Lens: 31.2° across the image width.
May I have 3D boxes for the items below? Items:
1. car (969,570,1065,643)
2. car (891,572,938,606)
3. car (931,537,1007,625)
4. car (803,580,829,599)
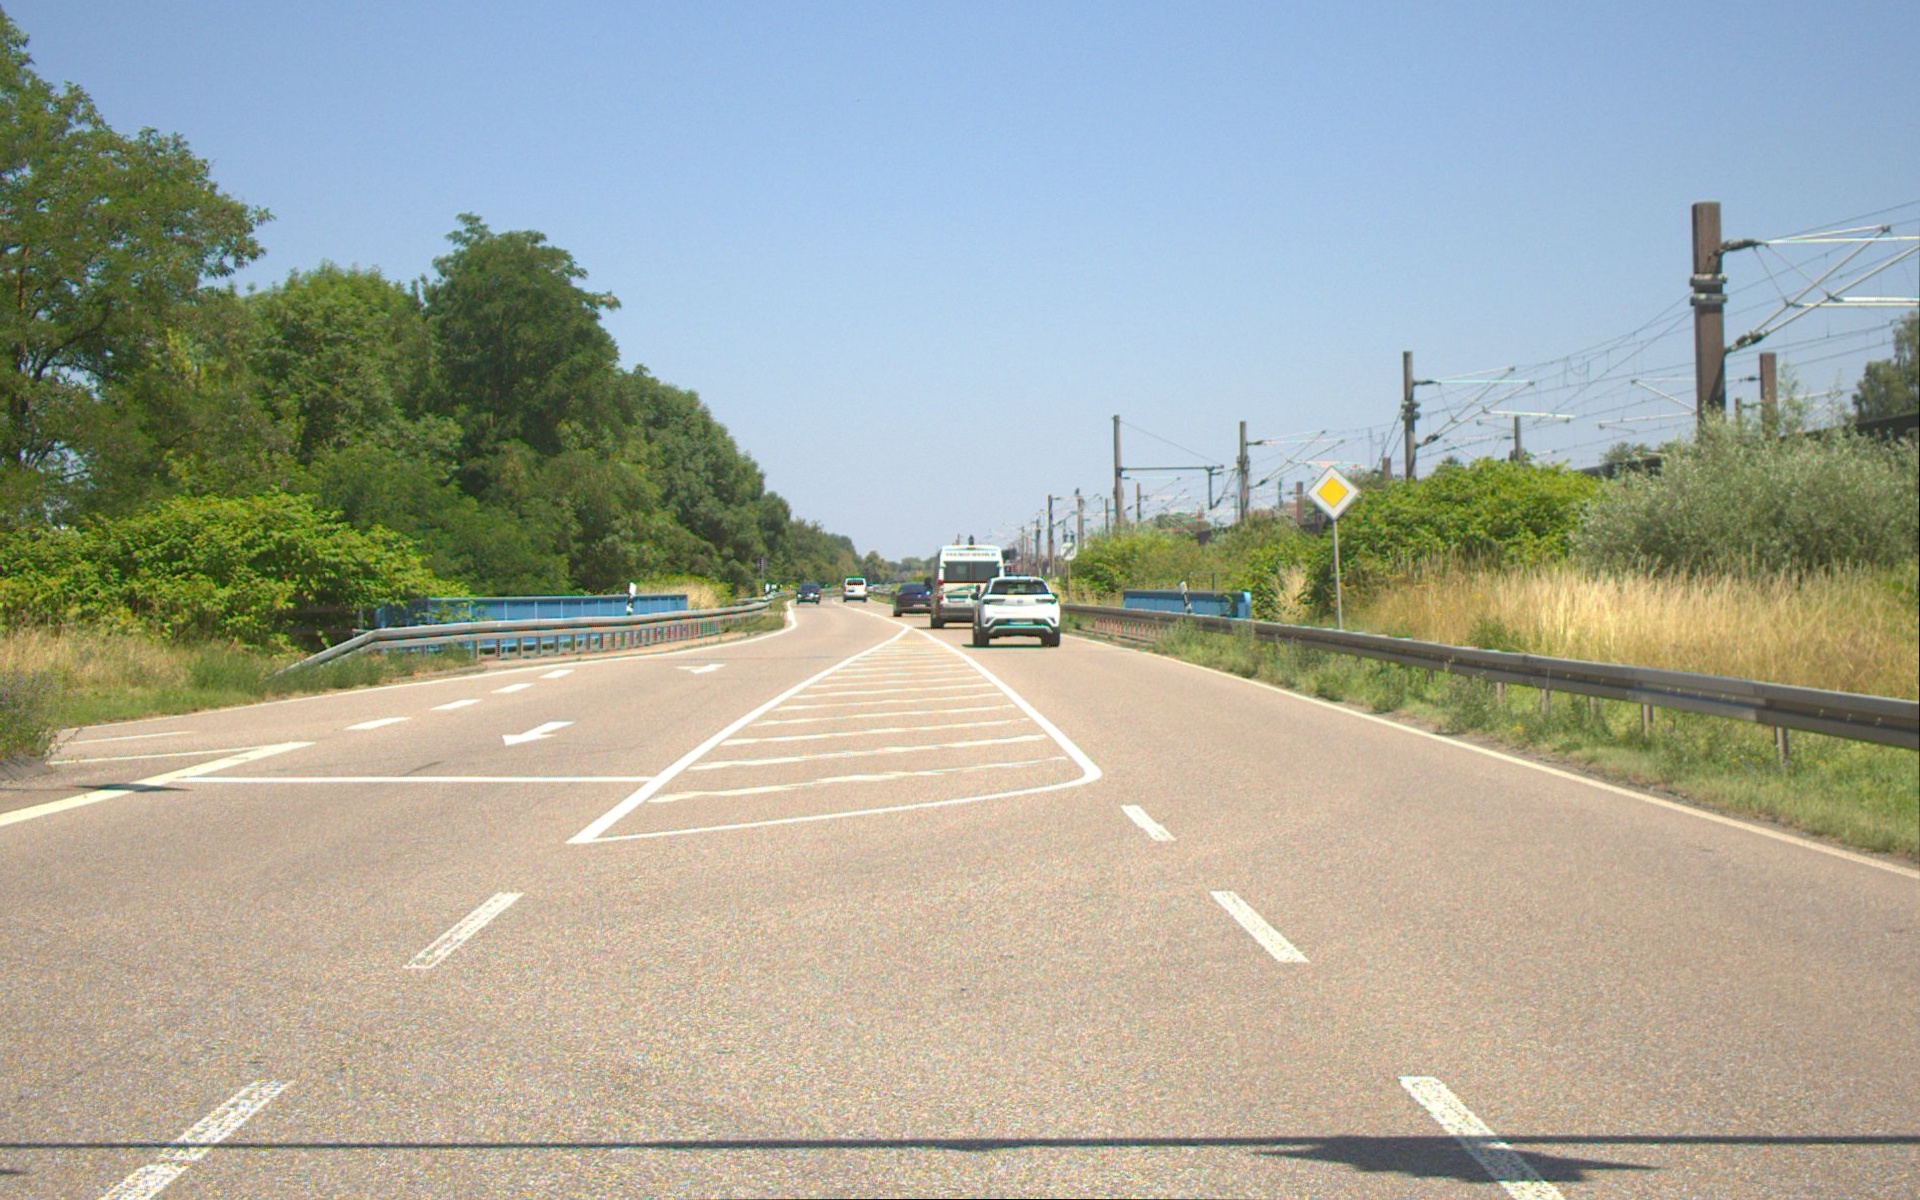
[{"bbox_3d":[1.229,0.121,75.912,1.817,1.558,4.279,0,0,-3],"label":"car"},{"bbox_3d":[-1.913,-0.474,143.636,1.856,1.375,4.503,1,1,-2],"label":"car"},{"bbox_3d":[0.248,-0.602,105.725,2.188,2.595,6.751,1,1,-1],"label":"car"},{"bbox_3d":[-10.562,-0.793,252.772,1.856,1.375,4.503,1,1,-2],"label":"car"}]
